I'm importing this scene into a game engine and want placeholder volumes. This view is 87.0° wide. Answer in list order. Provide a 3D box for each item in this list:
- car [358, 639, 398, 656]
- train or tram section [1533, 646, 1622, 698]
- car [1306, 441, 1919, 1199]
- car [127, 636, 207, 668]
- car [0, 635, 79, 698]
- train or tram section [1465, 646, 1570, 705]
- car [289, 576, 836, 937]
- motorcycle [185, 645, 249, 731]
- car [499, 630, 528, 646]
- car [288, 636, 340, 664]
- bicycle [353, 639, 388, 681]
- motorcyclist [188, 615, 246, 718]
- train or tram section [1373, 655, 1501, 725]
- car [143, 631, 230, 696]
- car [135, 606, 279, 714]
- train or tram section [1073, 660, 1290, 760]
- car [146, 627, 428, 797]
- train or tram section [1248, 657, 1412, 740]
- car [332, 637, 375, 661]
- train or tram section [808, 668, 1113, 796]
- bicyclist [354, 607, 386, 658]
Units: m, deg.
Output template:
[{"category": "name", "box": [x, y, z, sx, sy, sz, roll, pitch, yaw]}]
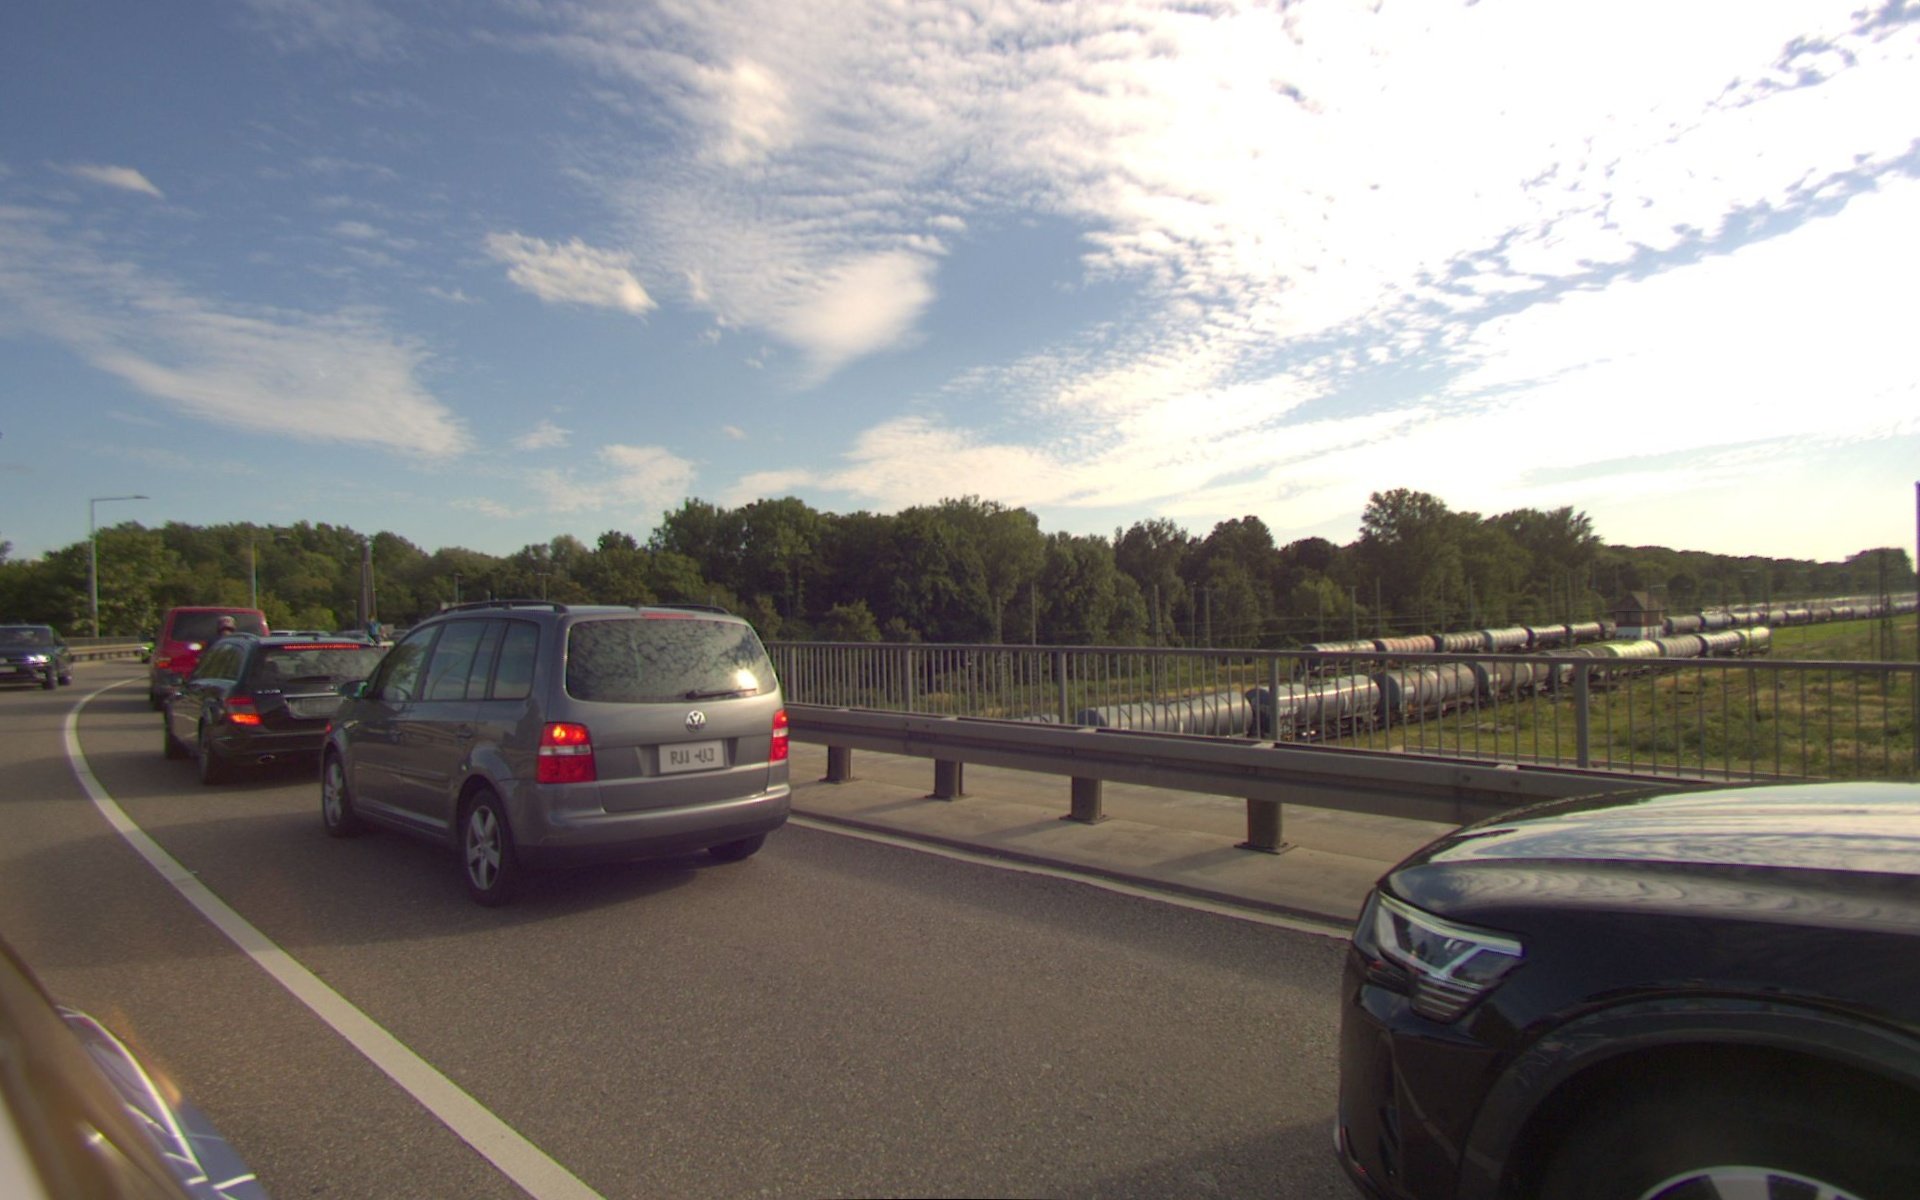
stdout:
[{"category": "car", "box": [-51.815, 4.223, 90.177, 1.790, 1.519, 4.402, 1, -2, -13]}, {"category": "train or tram section", "box": [62.777, 7.144, 102.572, 16.491, 4.748, 3.100, 2, -2, -42]}, {"category": "car", "box": [3.027, 0.608, 1.205, 4.584, 1.662, 1.906, -2, -3, 40]}, {"category": "car", "box": [-37.089, 2.409, 47.447, 1.788, 1.415, 4.405, 1, -2, -22]}, {"category": "car", "box": [-24.445, 1.674, 26.294, 1.790, 1.519, 4.402, 2, -3, -34]}, {"category": "train or tram section", "box": [50.576, 6.627, 91.457, 16.491, 4.748, 3.100, 2, -2, -42]}, {"category": "car", "box": [-2.869, 0.789, 6.757, 4.297, 1.662, 1.663, -2, -3, 42]}, {"category": "motorcycle", "box": [-11.735, 1.353, 15.964, 0.612, 1.262, 1.794, 2, -3, -42]}, {"category": "car", "box": [-47.520, 4.042, 107.825, 1.751, 1.759, 3.843, 0, -2, -7]}, {"category": "car", "box": [-35.698, 2.730, 56.051, 1.735, 1.501, 4.459, 1, -2, -24]}, {"category": "bicycle", "box": [-19.770, 1.983, 33.913, 0.754, 1.342, 1.920, 1, -2, -38]}, {"category": "motorcyclist", "box": [-11.698, 1.033, 15.932, 0.613, 1.565, 0.938, 2, -3, -42]}, {"category": "train or tram section", "box": [38.206, 6.914, 80.455, 16.491, 4.748, 3.100, 2, -2, -42]}, {"category": "car", "box": [-20.997, 1.669, 27.526, 1.729, 1.622, 4.323, 2, -3, -37]}, {"category": "car", "box": [-15.345, 1.154, 20.515, 1.982, 1.918, 4.875, 2, -3, -41]}, {"category": "train or tram section", "box": [13.326, 6.095, 58.915, 16.486, 4.748, 3.101, 1, -2, -41]}, {"category": "car", "box": [-7.498, 1.050, 11.071, 1.811, 1.477, 4.522, 2, -3, -43]}, {"category": "train or tram section", "box": [25.833, 6.504, 69.653, 16.489, 4.748, 3.101, 2, -2, -41]}, {"category": "car", "box": [-40.169, 3.214, 67.122, 1.735, 1.501, 4.405, 1, -2, -22]}, {"category": "train or tram section", "box": [0.675, 5.864, 48.190, 16.486, 4.748, 3.101, 1, -2, -41]}, {"category": "bicyclist", "box": [-19.821, 1.082, 33.992, 0.756, 1.673, 1.122, 1, -2, -38]}]
